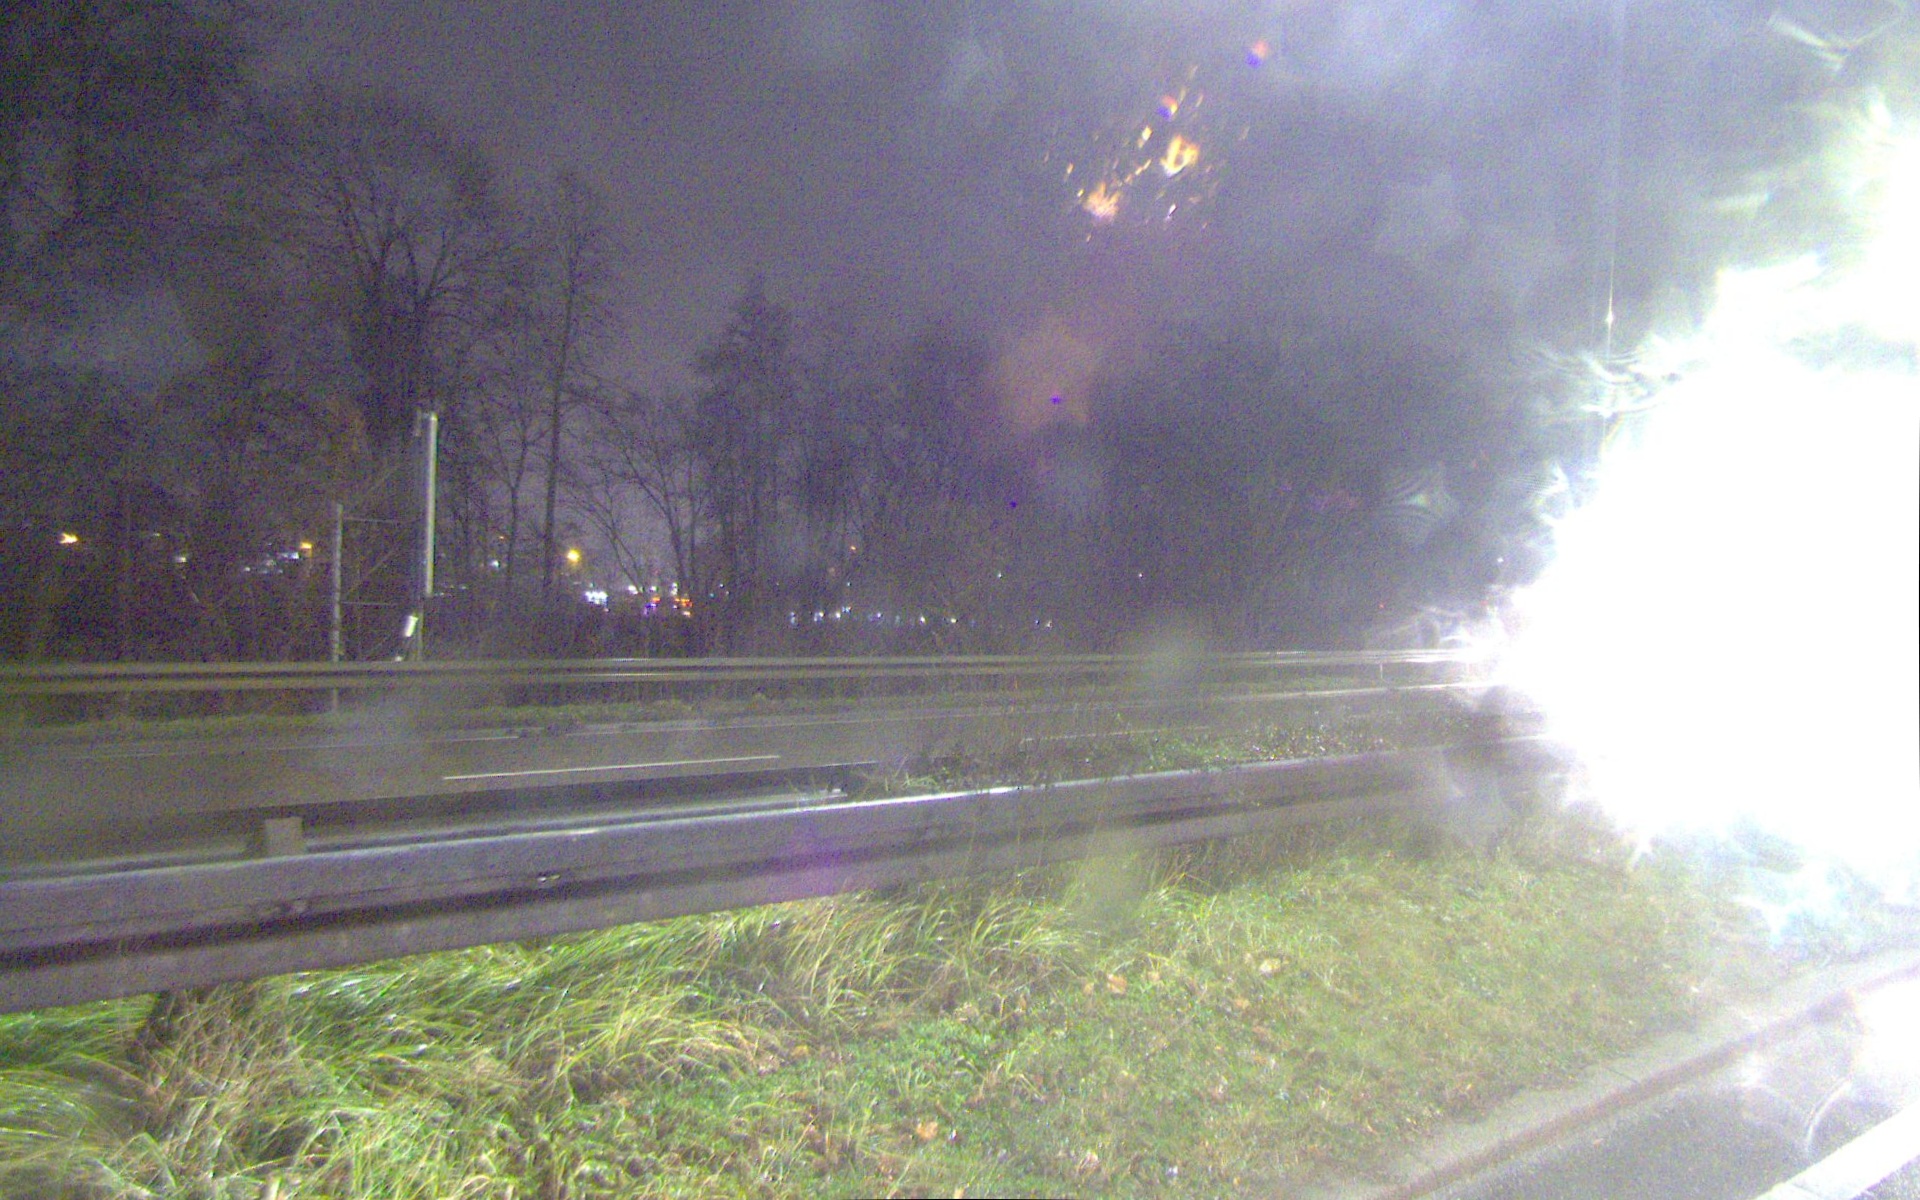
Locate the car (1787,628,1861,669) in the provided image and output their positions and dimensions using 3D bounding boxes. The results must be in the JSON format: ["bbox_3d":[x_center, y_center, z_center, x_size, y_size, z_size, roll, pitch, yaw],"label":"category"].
[{"bbox_3d":[33.154,1.831,38.508,4.635,1.442,1.695,2,-1,-44],"label":"car"}]

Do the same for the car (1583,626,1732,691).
[{"bbox_3d":[18.546,1.496,26.628,4.798,1.528,1.978,2,-1,-39],"label":"car"}]

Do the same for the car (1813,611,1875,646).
[{"bbox_3d":[43.966,1.435,49.934,4.217,1.629,1.853,2,-1,-42],"label":"car"}]

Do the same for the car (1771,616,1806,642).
[{"bbox_3d":[55.702,1.933,67.515,1.745,1.653,4.229,0,0,41],"label":"car"}]

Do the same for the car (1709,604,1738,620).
[{"bbox_3d":[73.394,1.154,96.641,1.716,1.522,3.992,2,0,30],"label":"car"}]
